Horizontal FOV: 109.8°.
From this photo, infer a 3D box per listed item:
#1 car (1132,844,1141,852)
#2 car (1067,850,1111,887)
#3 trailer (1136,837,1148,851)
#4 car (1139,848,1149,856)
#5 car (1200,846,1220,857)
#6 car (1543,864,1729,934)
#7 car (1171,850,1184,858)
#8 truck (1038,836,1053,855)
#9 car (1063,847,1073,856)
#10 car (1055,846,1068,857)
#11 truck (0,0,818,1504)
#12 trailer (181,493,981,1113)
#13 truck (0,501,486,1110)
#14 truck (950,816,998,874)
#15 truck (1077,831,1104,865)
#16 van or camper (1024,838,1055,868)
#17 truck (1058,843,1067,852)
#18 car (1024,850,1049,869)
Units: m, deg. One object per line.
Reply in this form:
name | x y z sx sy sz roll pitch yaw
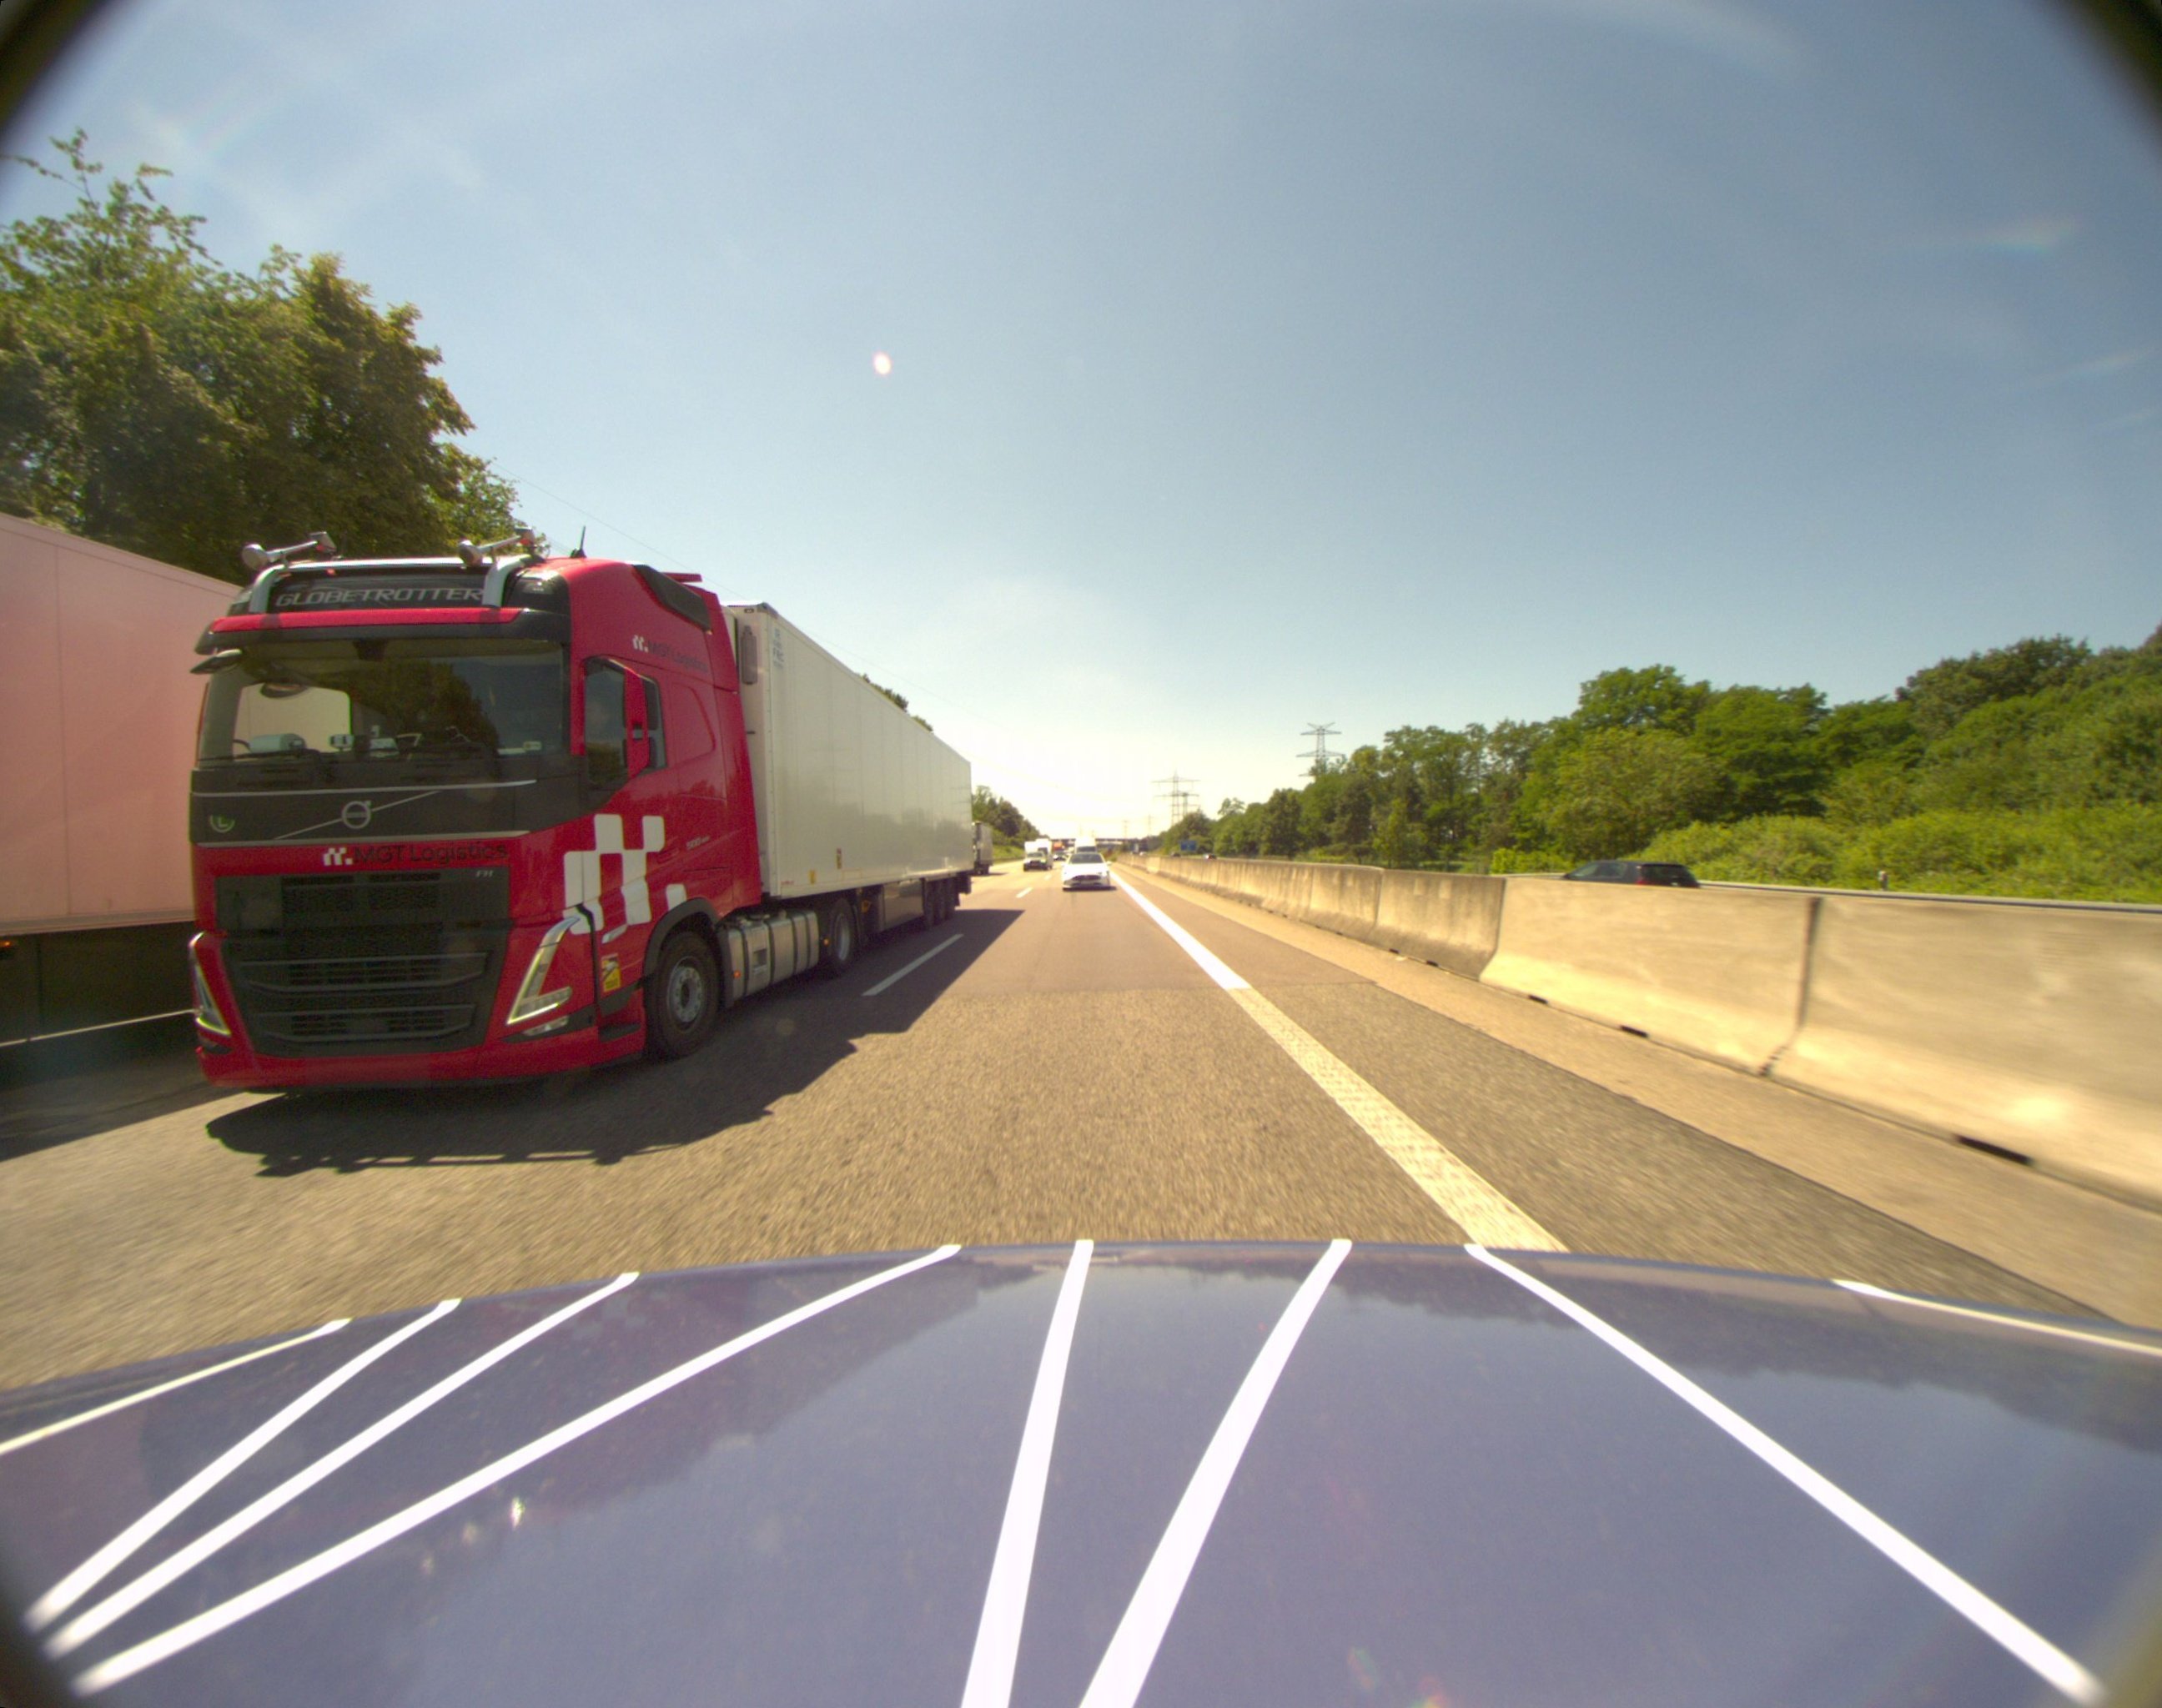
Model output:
car | 14.872 -1.656 202.332 1.998 2.002 4.938 2 1 0
car | 0.339 0.593 33.302 1.788 1.462 3.999 -2 1 0
trailer | 18.287 -2.945 227.824 2.478 4.107 13.464 2 0 0
car | 13.253 -0.408 160.058 1.778 1.529 4.683 1 0 0
car | 18.076 -0.328 106.529 1.913 1.470 4.824 2 0 0
car | 13.730 1.039 19.150 1.774 1.463 3.999 0 1 1
car | 18.702 -0.015 147.874 1.998 1.549 4.683 1 0 0
truck | -7.013 -1.702 152.224 2.584 3.704 8.278 -2 1 0
car | -2.930 -0.560 171.705 1.998 2.002 4.000 0 0 0
car | -3.052 -0.365 118.995 1.904 1.662 4.000 -1 0 0
truck | -4.297 -0.303 4.872 2.948 3.963 6.100 -2 1 0
trailer | -4.327 -0.409 13.099 2.945 3.994 16.197 -2 1 0
truck | -8.768 -0.278 3.520 3.033 4.069 10.977 -2 1 1
truck | -7.638 -0.622 55.453 1.987 3.750 10.042 -1 0 0
truck | 0.830 -0.519 68.086 2.192 2.841 5.503 -2 0 0
van or camper | -3.620 -0.095 67.805 2.411 2.483 6.431 -1 0 0
truck | -5.748 -2.054 241.948 2.619 2.801 6.593 0 0 0
car | -3.614 0.409 62.540 1.788 1.520 4.104 -1 0 0
